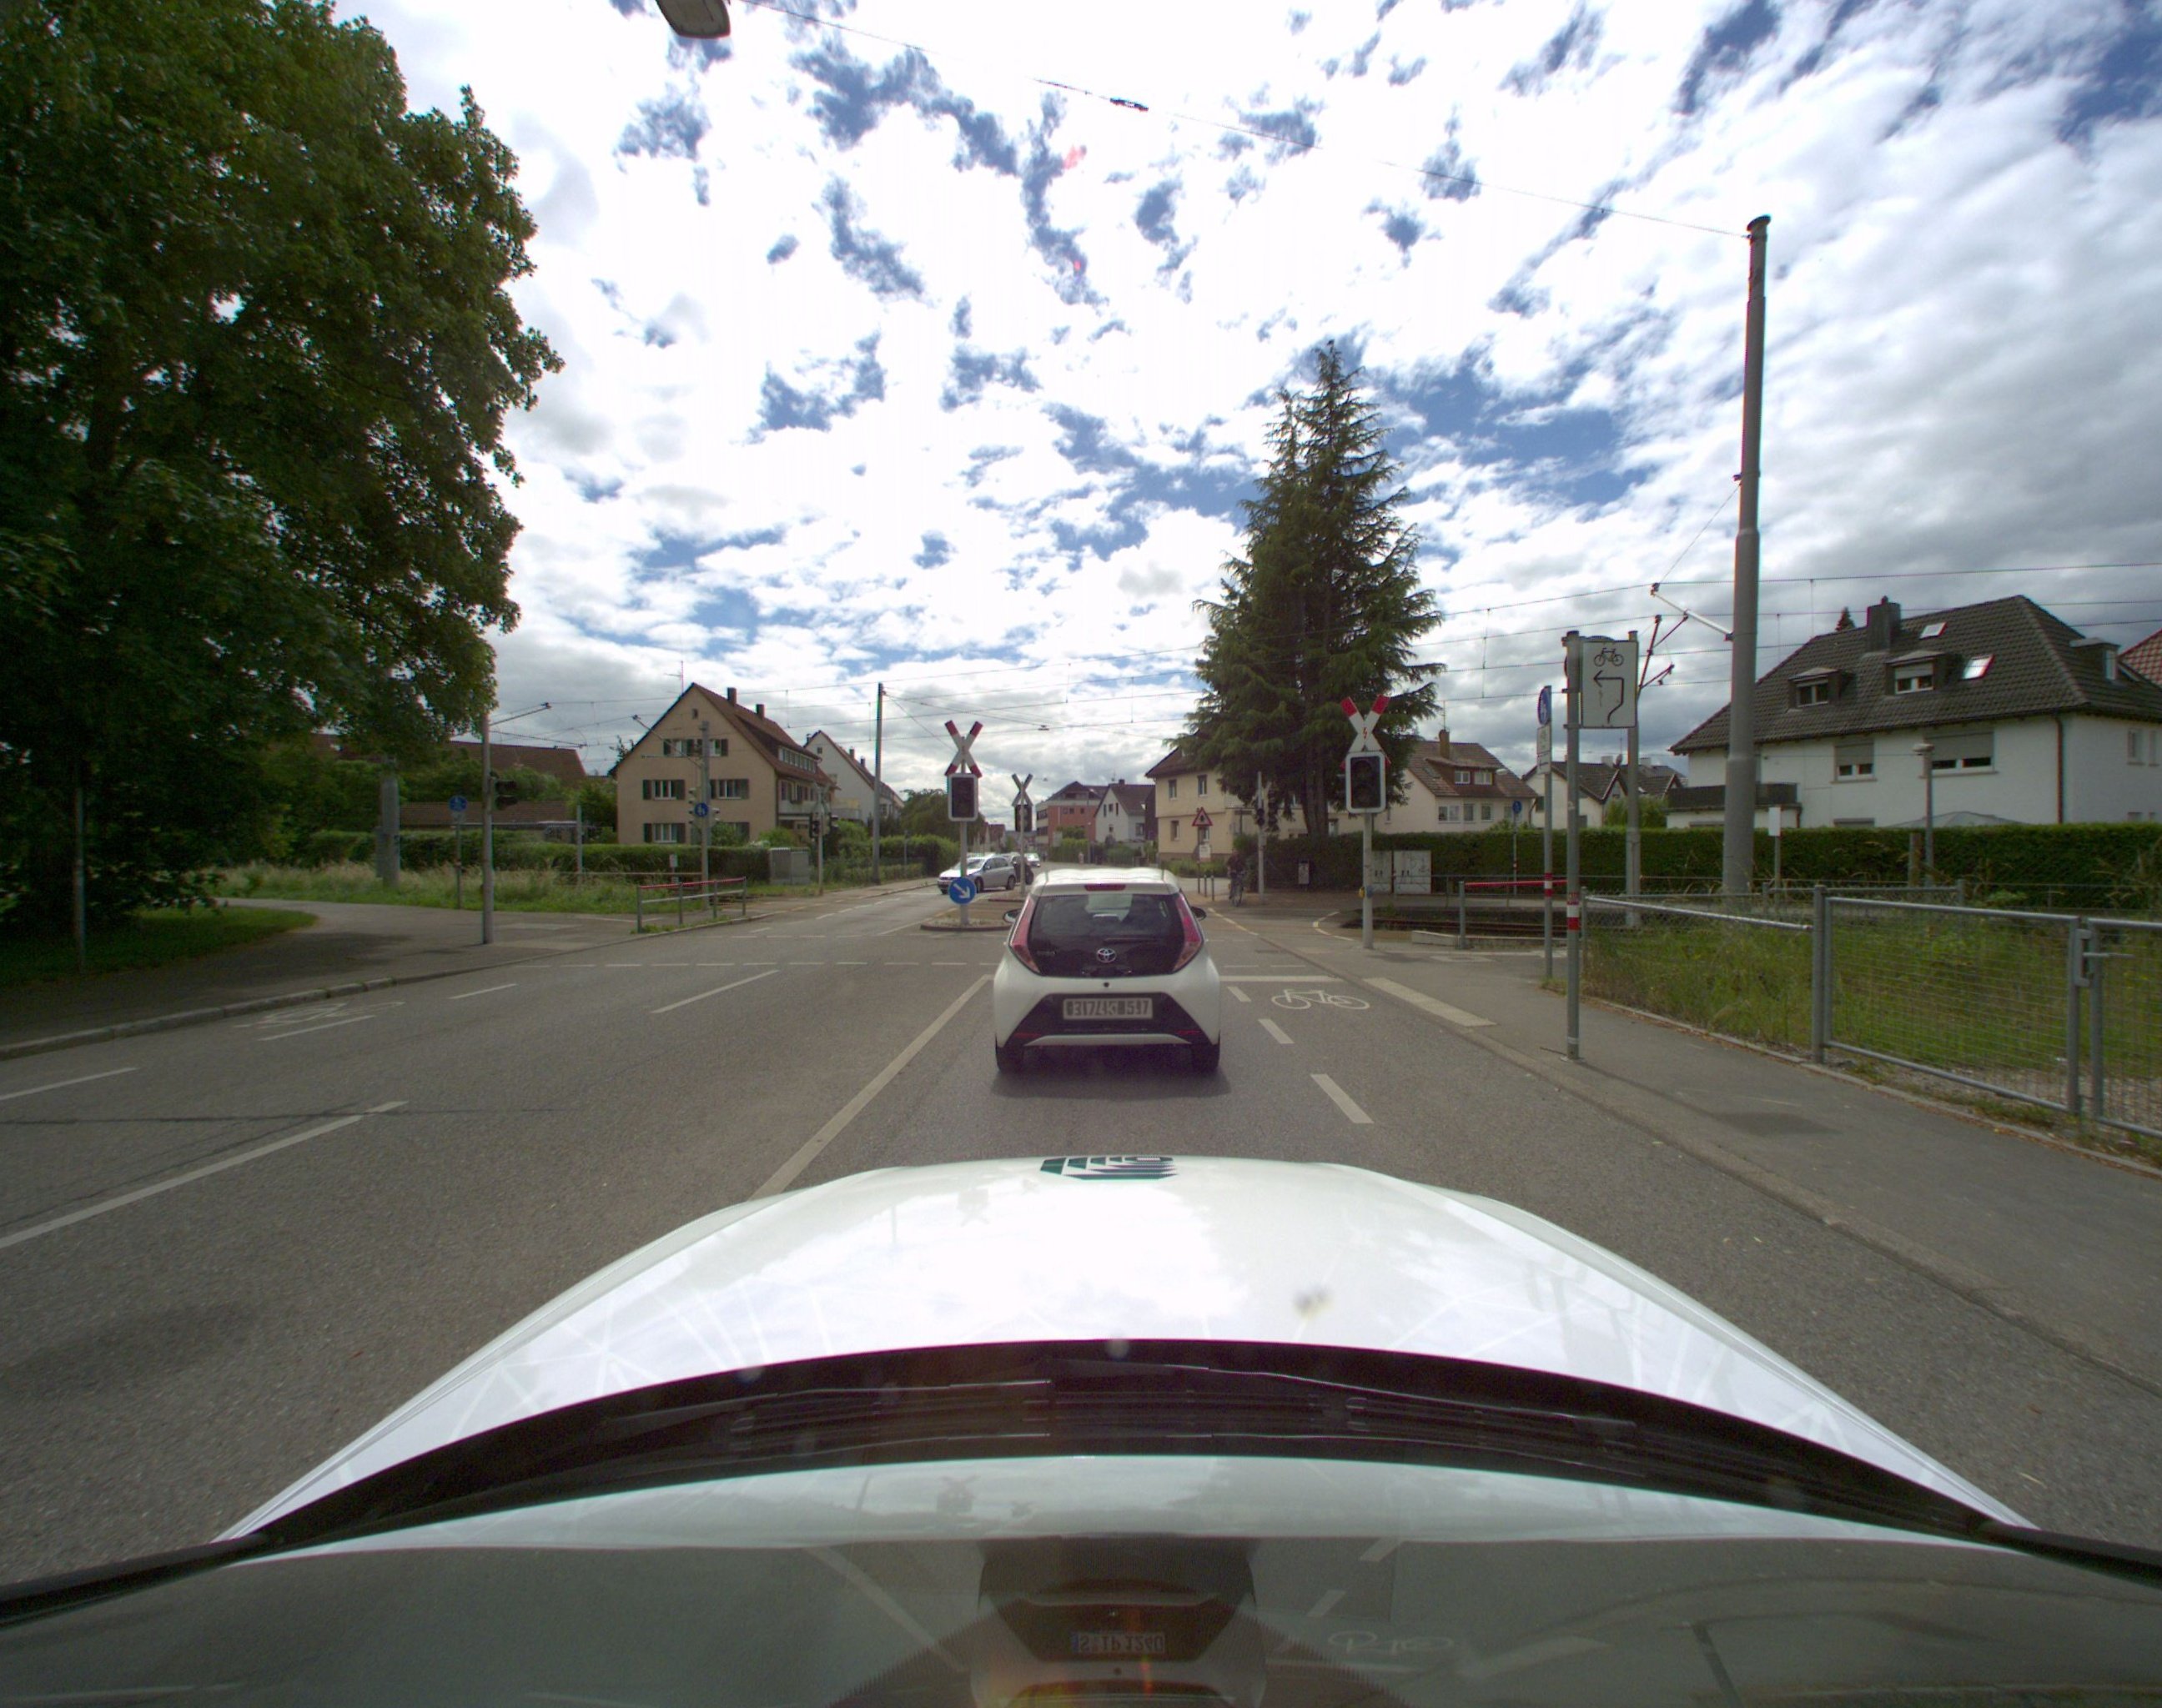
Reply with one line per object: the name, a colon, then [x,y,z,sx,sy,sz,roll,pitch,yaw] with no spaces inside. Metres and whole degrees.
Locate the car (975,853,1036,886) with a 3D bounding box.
car: [-3.734,0.780,40.541,1.559,1.510,2.805,-5,-3,35]

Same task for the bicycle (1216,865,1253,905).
bicycle: [4.761,0.952,25.187,0.925,1.040,1.923,-2,3,15]

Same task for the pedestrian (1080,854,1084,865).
pedestrian: [0.126,0.665,103.215,0.440,1.438,0.410,0,0,-37]

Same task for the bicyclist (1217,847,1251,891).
bicyclist: [4.735,0.459,25.154,0.925,1.247,1.107,-2,2,15]

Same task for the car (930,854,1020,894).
car: [-4.326,0.802,33.876,1.672,1.458,4.094,-2,0,27]

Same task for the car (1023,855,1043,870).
car: [-5.329,0.876,89.413,1.774,1.561,4.157,-1,0,-9]

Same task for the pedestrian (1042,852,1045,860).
pedestrian: [-6.362,0.354,137.464,0.413,1.438,0.436,0,0,-9]

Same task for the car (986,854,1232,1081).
car: [0.248,0.770,7.403,1.615,1.486,4.001,-1,-1,2]
